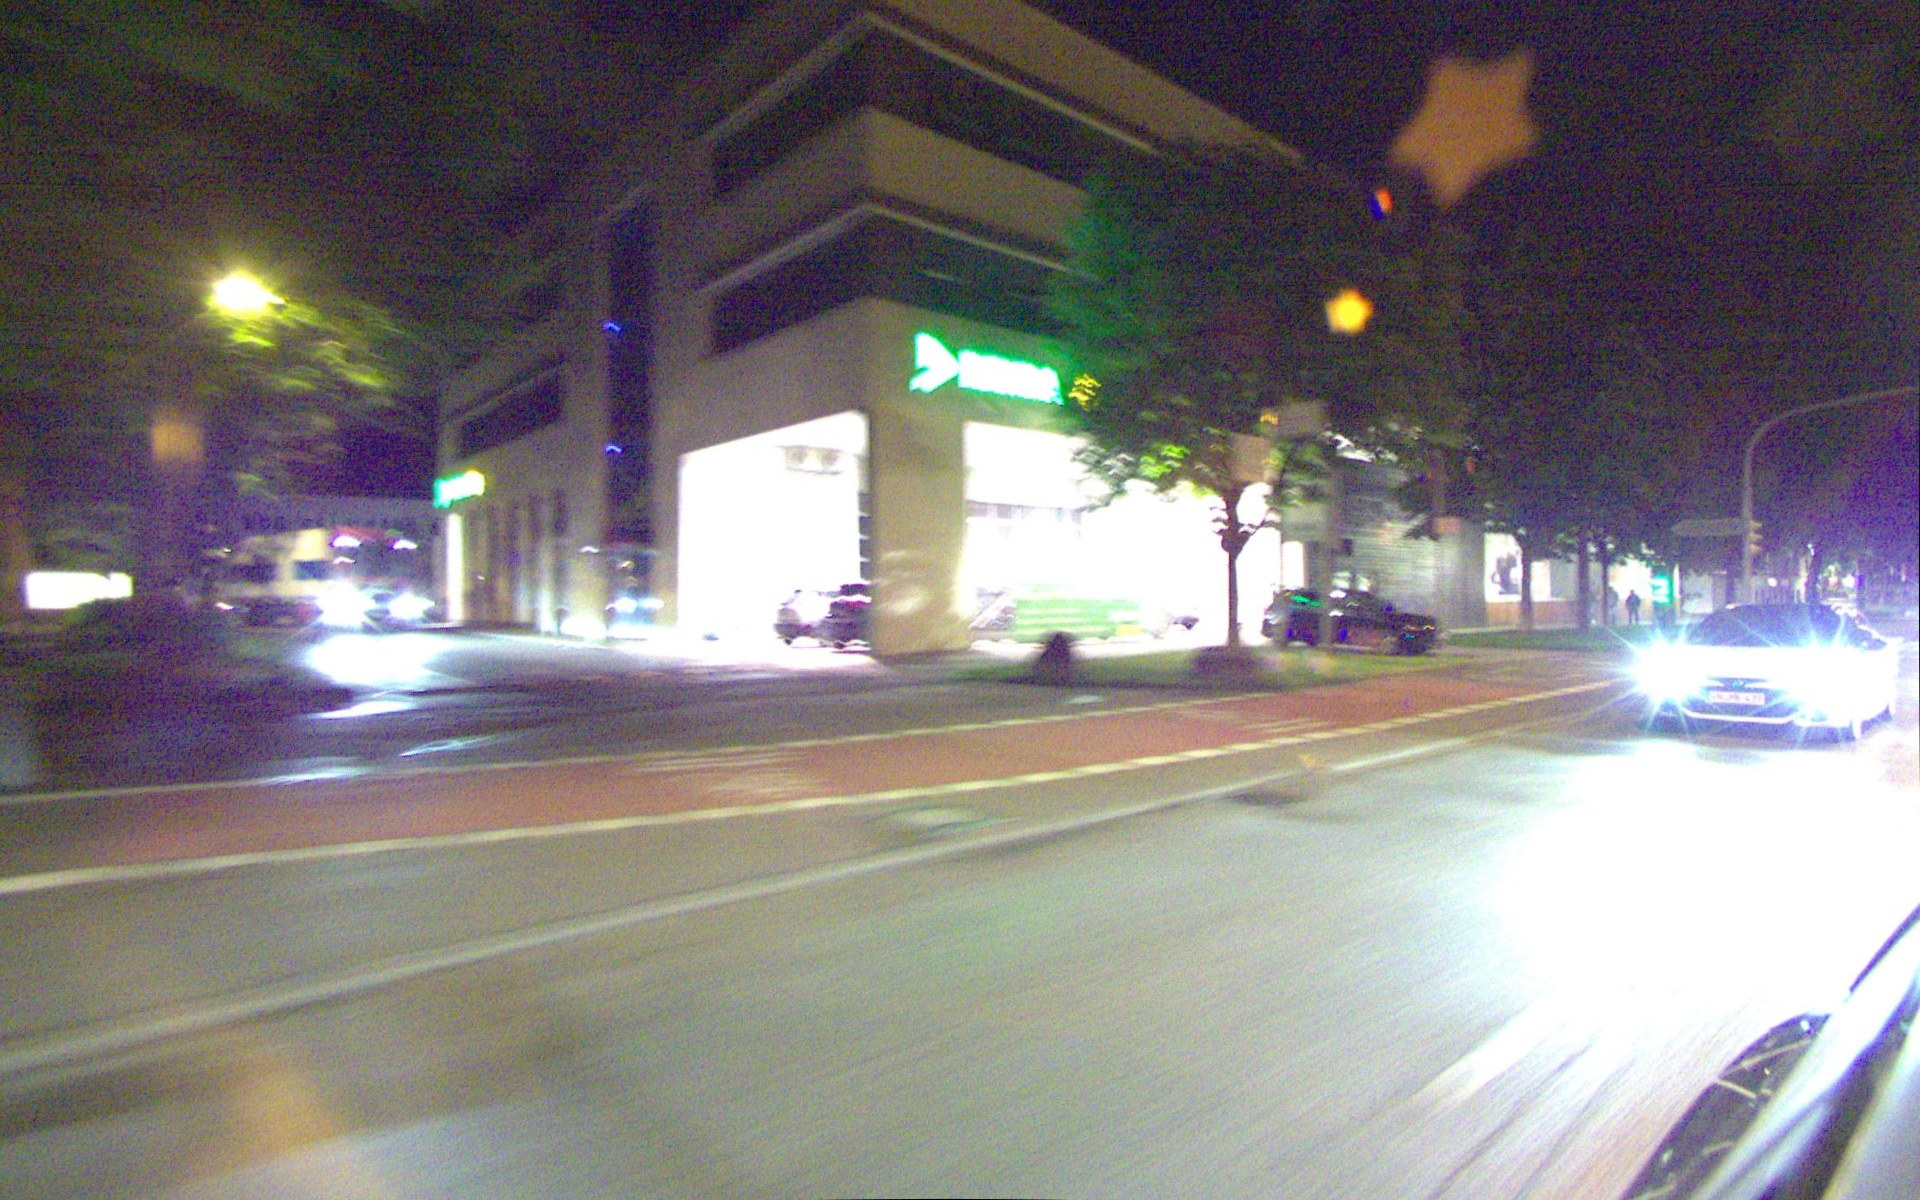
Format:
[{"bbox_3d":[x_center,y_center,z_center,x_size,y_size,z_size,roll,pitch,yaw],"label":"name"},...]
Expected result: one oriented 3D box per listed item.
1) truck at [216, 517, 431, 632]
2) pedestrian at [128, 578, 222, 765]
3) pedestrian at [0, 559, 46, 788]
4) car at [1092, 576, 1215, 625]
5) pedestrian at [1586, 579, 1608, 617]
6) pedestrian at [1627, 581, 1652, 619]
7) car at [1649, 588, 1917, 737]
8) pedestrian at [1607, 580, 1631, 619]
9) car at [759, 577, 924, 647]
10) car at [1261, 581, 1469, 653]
[{"bbox_3d":[-27.172,-1.068,42.435,16.765,4.033,3.085,1,2,42],"label":"truck"},{"bbox_3d":[-6.843,0.587,8.817,0.622,1.553,0.573,0,1,-40],"label":"pedestrian"},{"bbox_3d":[-7.239,0.530,7.493,0.667,1.659,0.622,0,1,-40],"label":"pedestrian"},{"bbox_3d":[6.648,-0.026,35.032,1.687,1.585,3.954,-1,1,-43],"label":"car"},{"bbox_3d":[30.536,-0.105,48.521,0.890,1.839,0.675,0,1,-41],"label":"pedestrian"},{"bbox_3d":[31.668,0.004,47.166,0.968,1.738,0.736,0,1,-41],"label":"pedestrian"},{"bbox_3d":[9.932,0.609,12.085,4.420,1.448,1.727,-1,0,-41],"label":"car"},{"bbox_3d":[31.143,-0.043,47.828,0.953,1.811,0.720,0,1,-41],"label":"pedestrian"},{"bbox_3d":[-2.958,0.233,25.837,3.933,1.616,1.729,-2,2,-43],"label":"car"},{"bbox_3d":[9.180,0.316,23.186,1.756,1.472,4.088,-1,2,-41],"label":"car"}]
